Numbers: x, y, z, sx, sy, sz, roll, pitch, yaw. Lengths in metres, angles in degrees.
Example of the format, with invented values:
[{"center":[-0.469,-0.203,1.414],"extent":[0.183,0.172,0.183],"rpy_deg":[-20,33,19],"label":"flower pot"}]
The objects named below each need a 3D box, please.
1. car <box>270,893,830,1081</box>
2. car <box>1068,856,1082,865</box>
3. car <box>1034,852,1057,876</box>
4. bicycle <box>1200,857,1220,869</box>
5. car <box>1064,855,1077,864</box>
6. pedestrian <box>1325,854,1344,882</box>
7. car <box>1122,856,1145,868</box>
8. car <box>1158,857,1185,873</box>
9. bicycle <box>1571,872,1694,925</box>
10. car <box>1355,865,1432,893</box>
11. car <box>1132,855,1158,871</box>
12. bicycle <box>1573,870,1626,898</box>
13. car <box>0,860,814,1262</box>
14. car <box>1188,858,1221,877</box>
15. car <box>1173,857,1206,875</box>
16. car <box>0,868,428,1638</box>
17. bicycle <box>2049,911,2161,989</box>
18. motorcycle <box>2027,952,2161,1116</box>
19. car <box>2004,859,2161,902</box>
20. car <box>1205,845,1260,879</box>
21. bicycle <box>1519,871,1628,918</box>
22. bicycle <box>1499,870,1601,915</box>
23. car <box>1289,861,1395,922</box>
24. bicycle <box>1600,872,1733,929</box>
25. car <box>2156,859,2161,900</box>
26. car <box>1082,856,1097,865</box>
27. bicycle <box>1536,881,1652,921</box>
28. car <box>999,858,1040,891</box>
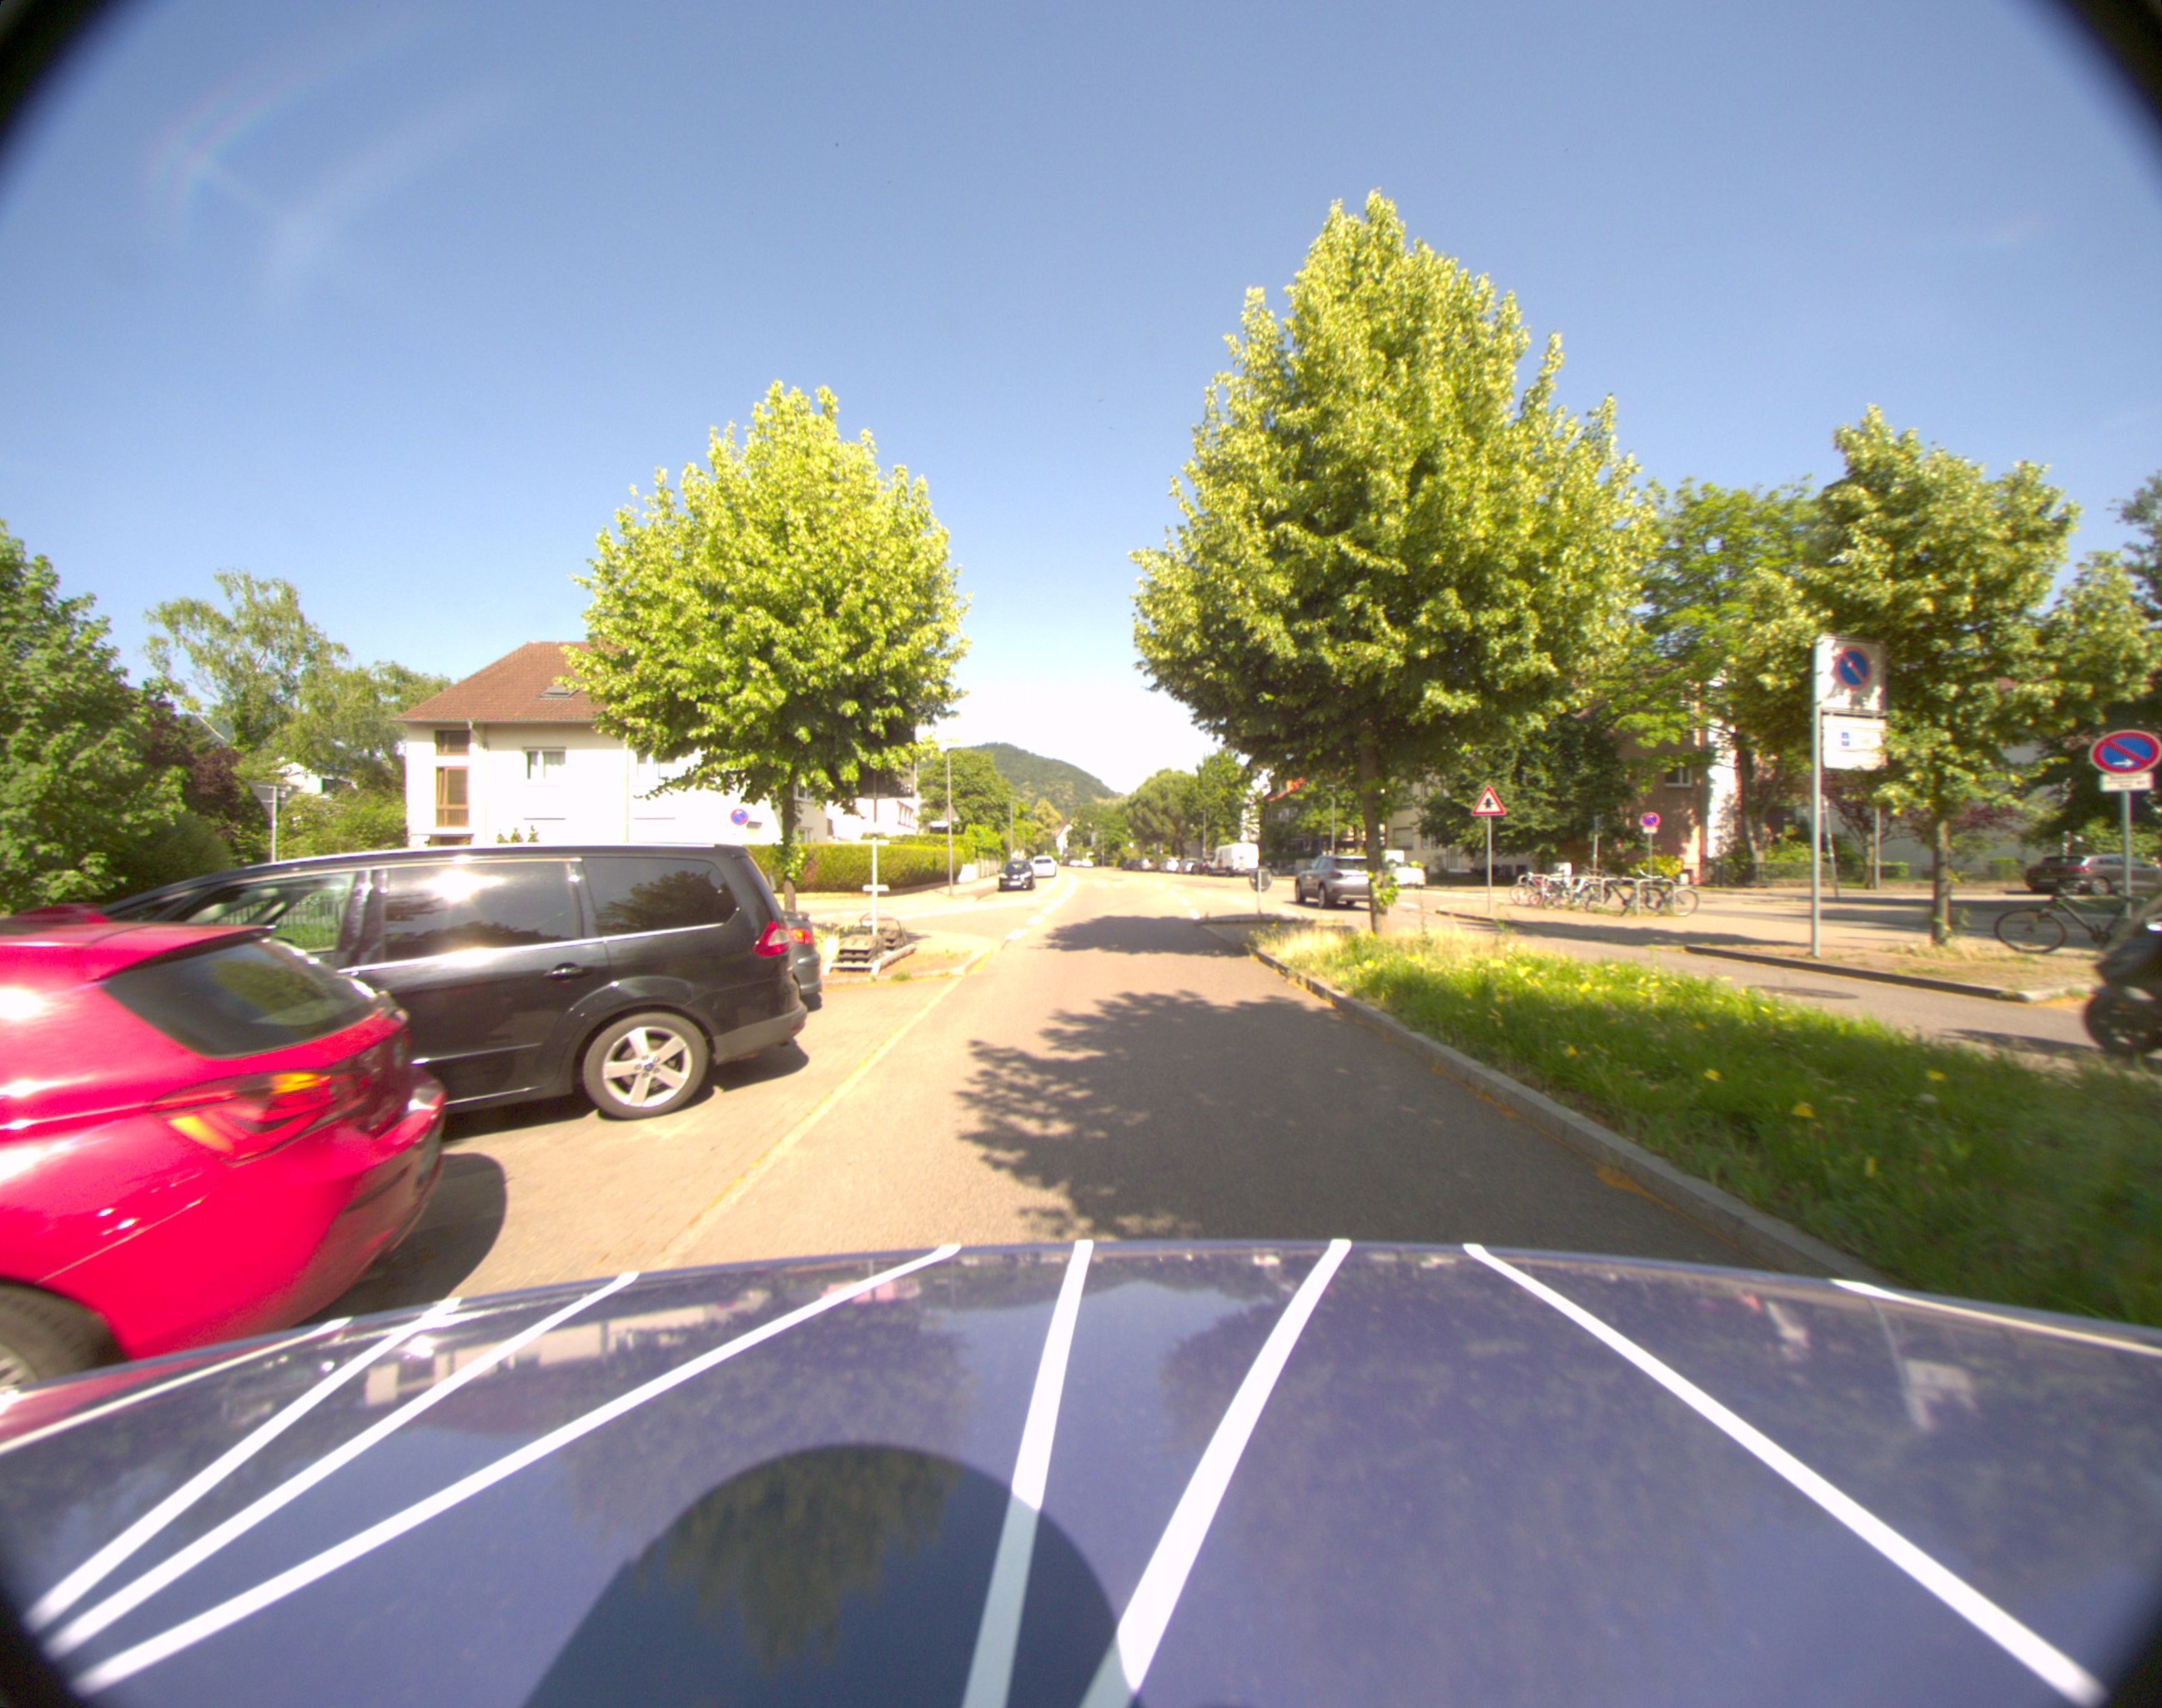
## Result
[{"center":[-4.629,1.084,7.347],"extent":[4.005,1.229,1.749],"rpy_deg":[0,0,-25],"label":"car"},{"center":[-1.087,1.129,138.655],"extent":[2.000,1.608,3.997],"rpy_deg":[0,0,-8],"label":"car"},{"center":[-2.883,0.811,62.447],"extent":[1.767,1.816,4.597],"rpy_deg":[-2,1,-2],"label":"car"},{"center":[14.919,1.042,87.879],"extent":[2.179,1.375,0.502],"rpy_deg":[1,0,-11],"label":"bicycle"},{"center":[-2.075,1.126,145.774],"extent":[2.000,1.674,3.997],"rpy_deg":[0,0,-8],"label":"car"},{"center":[16.458,0.896,49.416],"extent":[0.976,1.769,0.725],"rpy_deg":[0,0,-3],"label":"pedestrian"},{"center":[6.315,0.957,91.965],"extent":[1.847,1.448,4.190],"rpy_deg":[1,-1,-9],"label":"car"},{"center":[9.010,1.101,75.662],"extent":[1.725,1.549,3.998],"rpy_deg":[1,-1,-7],"label":"car"},{"center":[13.523,1.082,18.665],"extent":[2.522,1.249,0.739],"rpy_deg":[1,0,-2],"label":"bicycle"},{"center":[15.219,1.198,37.203],"extent":[1.725,1.259,3.998],"rpy_deg":[1,-1,-7],"label":"car"},{"center":[7.253,1.058,86.656],"extent":[1.847,1.754,4.582],"rpy_deg":[1,-1,-9],"label":"car"},{"center":[20.579,1.189,30.181],"extent":[1.711,1.074,0.379],"rpy_deg":[-1,0,41],"label":"bicycle"},{"center":[-4.018,0.878,4.666],"extent":[4.127,1.630,2.039],"rpy_deg":[0,0,-33],"label":"car"},{"center":[10.437,1.147,64.616],"extent":[1.725,1.549,3.998],"rpy_deg":[1,-1,-7],"label":"car"},{"center":[9.881,1.095,69.489],"extent":[1.725,1.549,4.669],"rpy_deg":[1,-1,-7],"label":"car"},{"center":[-4.123,0.905,1.567],"extent":[4.007,1.630,1.875],"rpy_deg":[-1,1,-35],"label":"car"},{"center":[13.933,1.260,10.004],"extent":[0.522,0.898,1.402],"rpy_deg":[1,1,-4],"label":"bicycle"},{"center":[7.622,1.241,4.646],"extent":[0.925,0.987,2.235],"rpy_deg":[0,0,2],"label":"motorcycle"},{"center":[37.242,0.965,28.273],"extent":[3.793,1.543,1.748],"rpy_deg":[0,0,-2],"label":"car"},{"center":[11.636,0.622,58.840],"extent":[2.096,2.482,5.947],"rpy_deg":[1,-1,-11],"label":"car"},{"center":[13.659,1.119,21.111],"extent":[2.551,1.232,0.739],"rpy_deg":[1,0,-2],"label":"bicycle"},{"center":[13.657,1.111,22.165],"extent":[2.551,1.249,0.739],"rpy_deg":[1,0,-2],"label":"bicycle"},{"center":[7.456,1.004,22.091],"extent":[1.745,1.538,4.073],"rpy_deg":[1,0,2],"label":"car"},{"center":[13.483,1.053,17.528],"extent":[2.551,1.249,0.739],"rpy_deg":[0,0,-2],"label":"bicycle"},{"center":[43.206,0.965,28.387],"extent":[3.793,1.543,1.748],"rpy_deg":[0,0,-2],"label":"car"},{"center":[1.345,1.070,126.058],"extent":[1.960,1.543,3.997],"rpy_deg":[0,0,-8],"label":"car"},{"center":[13.423,1.213,19.912],"extent":[2.551,0.981,0.739],"rpy_deg":[1,0,-2],"label":"bicycle"},{"center":[-2.985,0.960,37.337],"extent":[1.621,1.382,4.000],"rpy_deg":[-3,0,0],"label":"car"}]
